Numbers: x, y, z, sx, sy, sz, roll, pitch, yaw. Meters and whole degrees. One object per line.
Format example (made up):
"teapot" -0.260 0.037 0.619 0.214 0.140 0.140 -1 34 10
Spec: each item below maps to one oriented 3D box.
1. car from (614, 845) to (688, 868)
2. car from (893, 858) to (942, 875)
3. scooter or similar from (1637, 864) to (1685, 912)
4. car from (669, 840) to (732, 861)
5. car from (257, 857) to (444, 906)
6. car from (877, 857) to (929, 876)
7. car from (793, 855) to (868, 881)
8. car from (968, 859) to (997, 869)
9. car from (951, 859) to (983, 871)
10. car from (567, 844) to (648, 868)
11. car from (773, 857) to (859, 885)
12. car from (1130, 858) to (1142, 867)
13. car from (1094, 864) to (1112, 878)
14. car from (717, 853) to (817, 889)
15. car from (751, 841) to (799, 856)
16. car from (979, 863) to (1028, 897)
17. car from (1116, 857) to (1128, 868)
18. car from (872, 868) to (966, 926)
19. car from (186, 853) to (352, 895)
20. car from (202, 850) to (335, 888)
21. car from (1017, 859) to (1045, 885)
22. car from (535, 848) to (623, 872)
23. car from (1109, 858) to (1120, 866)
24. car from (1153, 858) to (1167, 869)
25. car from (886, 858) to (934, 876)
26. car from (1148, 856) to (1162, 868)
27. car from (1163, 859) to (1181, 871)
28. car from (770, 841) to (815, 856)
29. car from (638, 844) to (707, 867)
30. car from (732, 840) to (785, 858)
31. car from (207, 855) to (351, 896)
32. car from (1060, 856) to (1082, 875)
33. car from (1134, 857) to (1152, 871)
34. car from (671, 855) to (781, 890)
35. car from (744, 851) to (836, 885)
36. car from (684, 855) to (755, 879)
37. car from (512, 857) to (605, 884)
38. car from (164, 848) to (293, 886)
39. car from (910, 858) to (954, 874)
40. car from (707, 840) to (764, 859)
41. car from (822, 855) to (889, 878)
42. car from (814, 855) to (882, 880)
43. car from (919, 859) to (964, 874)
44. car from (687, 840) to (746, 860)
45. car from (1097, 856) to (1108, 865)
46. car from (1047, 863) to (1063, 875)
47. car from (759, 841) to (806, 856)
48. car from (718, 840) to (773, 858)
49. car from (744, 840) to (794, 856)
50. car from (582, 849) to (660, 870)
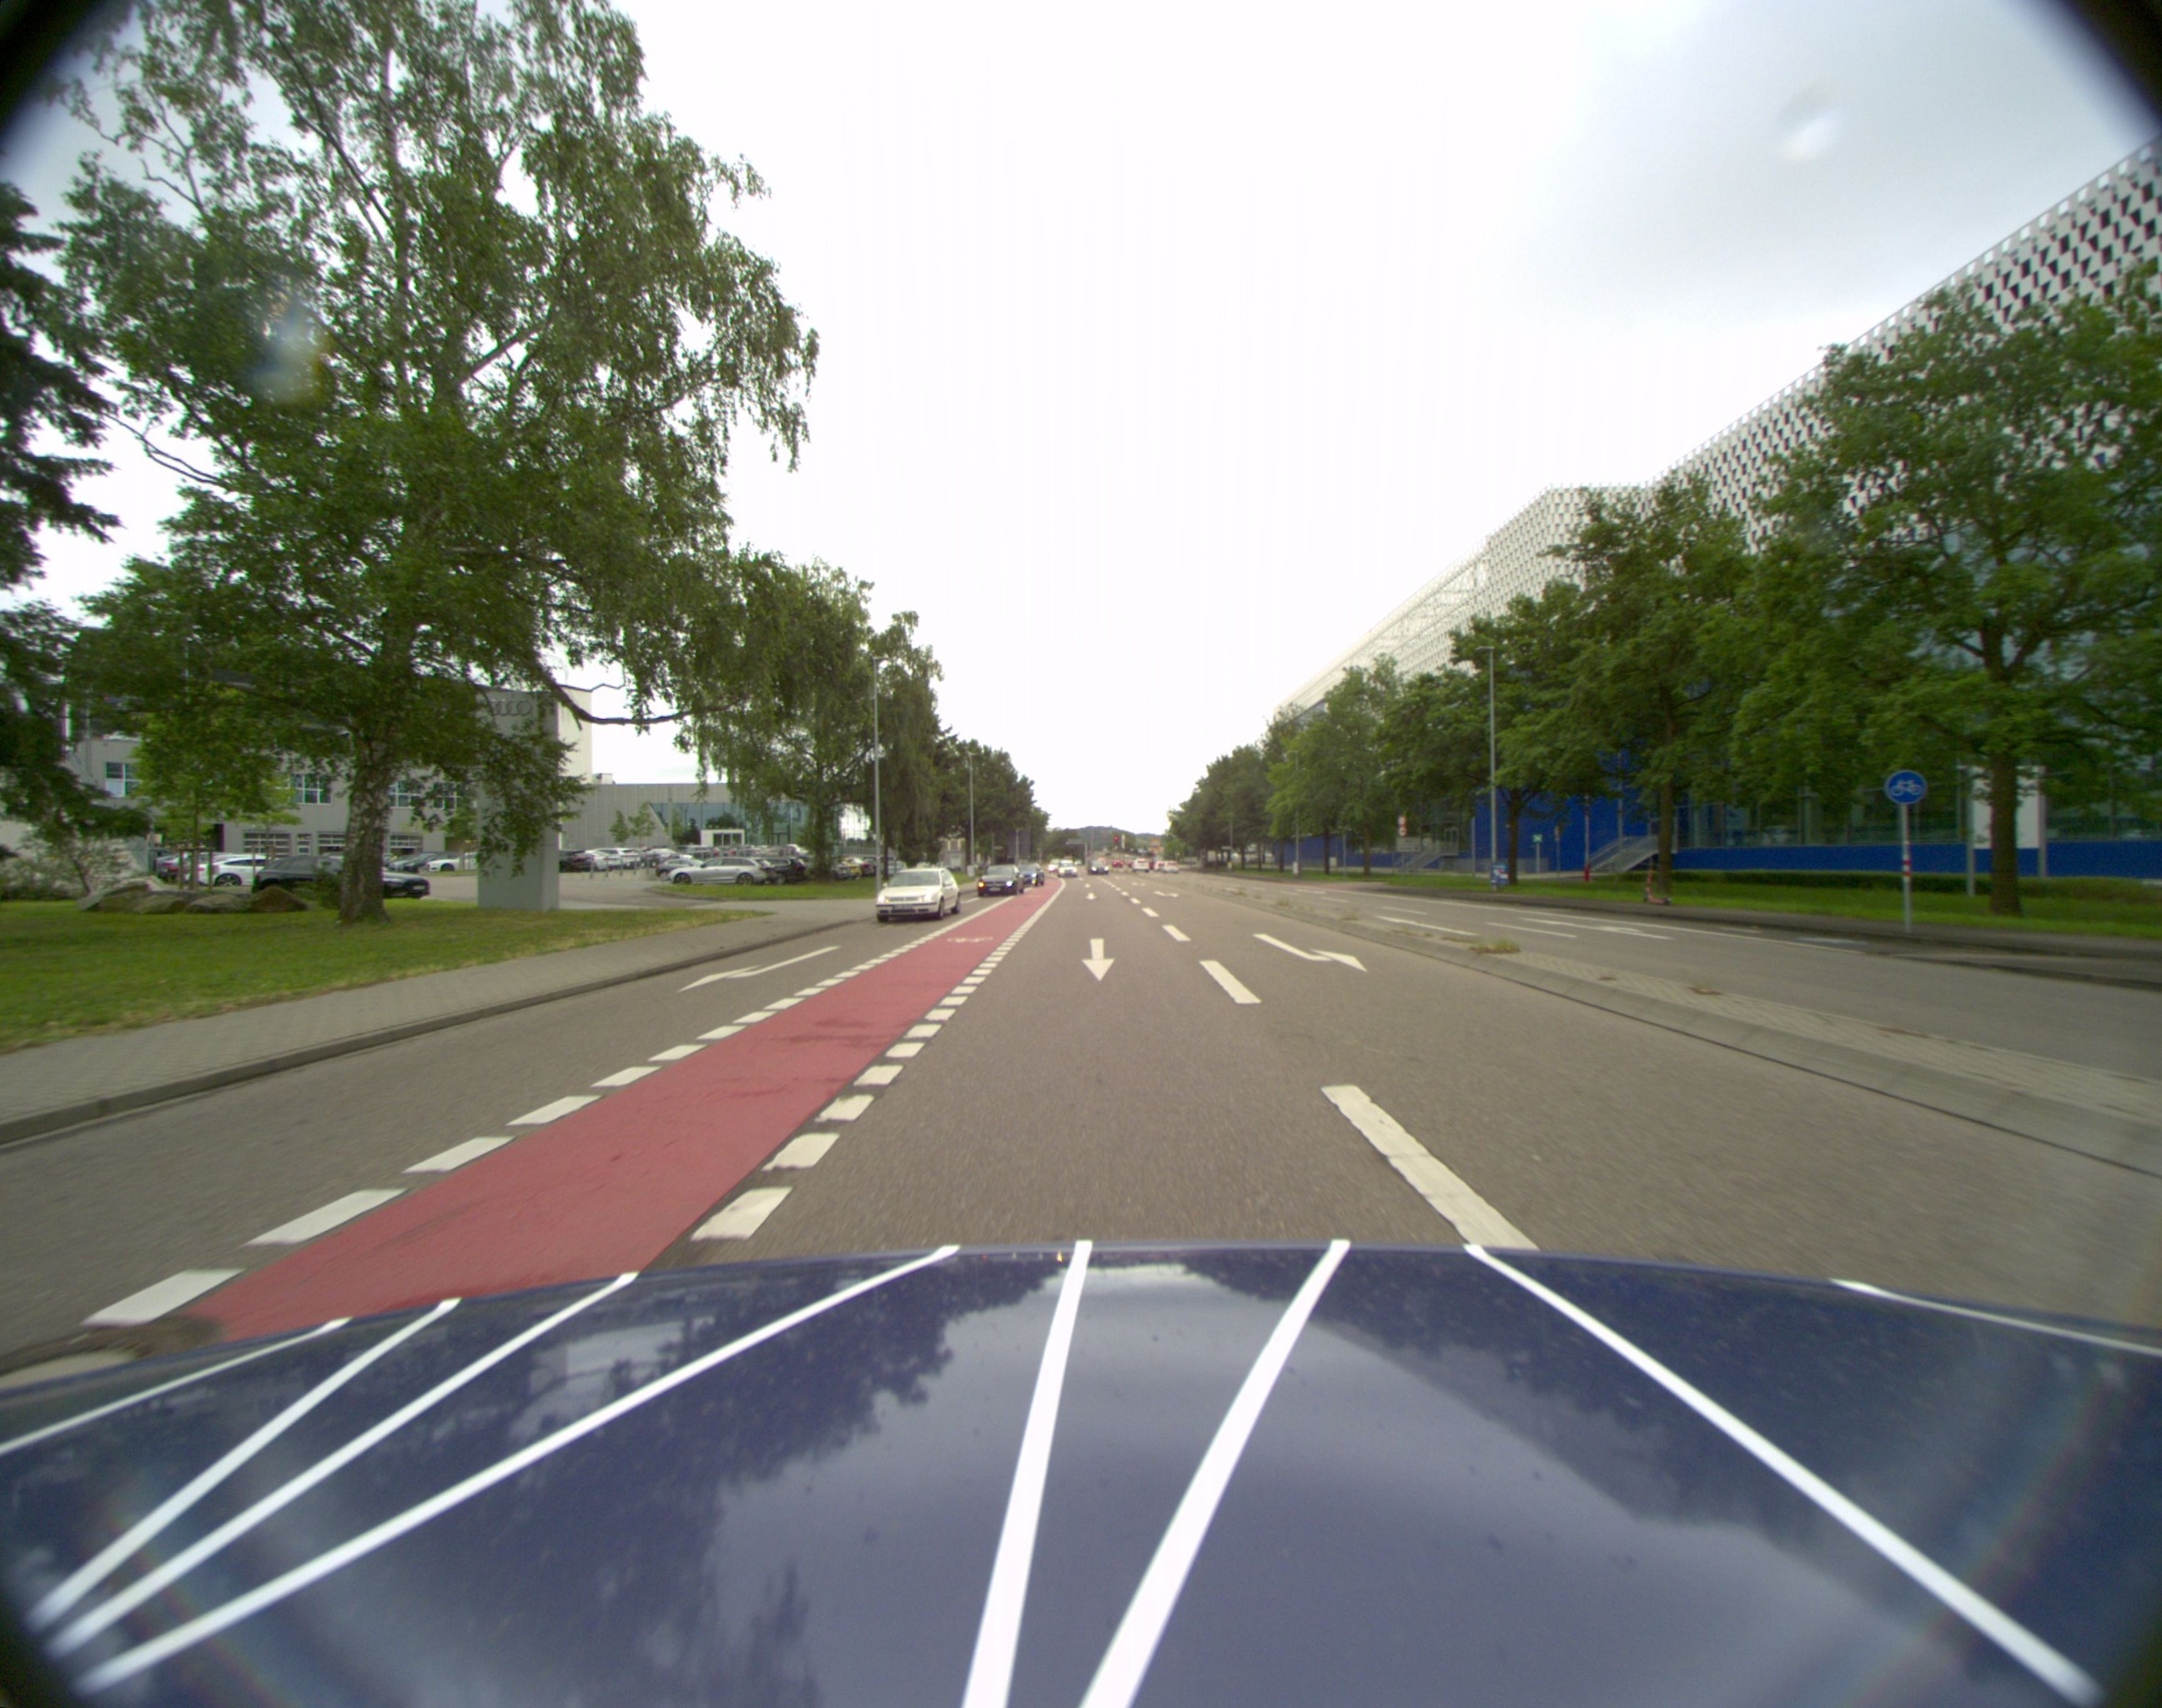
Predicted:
"car" -31.558 0.198 55.848 4.309 1.364 1.832 -3 0 -1
"car" -15.871 1.229 73.880 4.308 1.350 1.739 -3 0 0
"scooter or similar" 16.748 0.952 21.969 0.448 1.314 1.506 0 0 10
"car" -32.249 -0.275 64.489 4.309 1.518 1.859 -3 0 -1
"car" -24.889 0.921 26.035 4.310 1.579 1.968 0 0 -6
"car" -16.198 1.149 69.187 4.198 1.423 1.739 -3 0 0
"car" -15.530 0.862 47.217 4.004 1.371 1.811 -3 0 2
"car" -15.092 1.510 116.596 4.041 1.384 1.727 -3 0 0
"car" -15.504 1.455 103.765 4.041 1.384 1.727 -3 0 0
"car" -32.179 0.142 51.686 4.309 1.374 1.700 -3 0 -1
"car" -15.590 0.976 44.898 4.308 1.374 1.902 -3 0 2
"car" 11.399 1.833 157.592 1.651 1.787 3.979 2 -1 -6
"car" 2.322 1.788 80.418 1.837 1.415 4.000 -2 0 0
"car" -16.285 0.860 39.578 4.309 1.591 1.969 -3 0 -2
"car" -32.337 -0.561 80.378 4.309 1.355 1.832 -3 0 -1
"car" -3.624 1.188 36.143 1.837 1.415 4.000 -2 0 0
"car" 8.077 1.712 150.475 1.651 1.788 3.978 -8 1 -6
"car" -4.511 1.152 21.693 1.726 1.415 3.941 -2 0 1
"car" -35.718 0.865 33.575 1.900 1.557 4.684 -3 0 33
"car" -41.328 0.729 38.739 1.964 1.651 4.319 -3 0 35
"car" -3.397 1.168 50.847 1.788 1.637 3.998 0 0 -5
"car" -32.222 0.395 48.871 4.309 1.282 1.832 -3 0 -1
"car" 7.016 1.684 159.220 1.651 1.787 3.979 2 -1 -6
"car" 10.841 1.305 104.329 1.628 1.414 3.611 1 0 0
"car" -16.091 1.225 71.608 4.056 1.369 1.795 -3 0 1
"car" 12.218 1.259 125.968 1.771 1.913 4.909 1 0 -1
"car" 11.118 1.331 92.937 1.681 1.420 3.650 1 0 -3
"car" -32.471 -0.626 85.664 4.309 1.355 1.832 -3 0 -1
"car" -32.012 0.142 59.572 4.309 1.526 1.832 -3 0 -1
"car" -31.807 -0.488 74.996 4.308 1.582 1.896 -3 0 2
"car" -37.340 0.958 35.504 1.964 1.643 4.319 -3 0 35
"car" -1.000 1.126 74.979 1.995 1.838 4.103 0 0 -2
"car" 7.758 1.259 95.544 1.822 1.577 4.513 1 -1 0
"car" -16.548 0.864 35.572 4.310 1.480 1.739 -1 0 -5
"car" -16.135 0.754 42.284 4.308 1.591 1.969 -3 0 2
"car" -26.283 0.990 55.337 4.308 1.616 1.903 -1 -2 -1
"car" -32.030 1.001 46.672 4.309 1.365 1.832 -3 0 -1
"car" -45.618 0.680 40.744 1.964 1.794 4.319 -3 0 35
"car" -16.009 1.327 81.682 4.308 1.436 1.844 -3 0 0
"car" -31.752 -0.409 69.878 4.309 1.503 1.832 -3 0 -1
"car" -15.645 0.867 52.822 4.002 1.345 1.902 -3 0 2
"car" -15.317 0.891 50.106 3.761 1.415 1.953 -3 0 -1
"car" -15.907 1.421 86.754 4.763 1.416 1.902 -3 0 0
"car" -32.274 -0.371 67.340 4.309 1.516 1.832 -3 0 -1
"car" 4.235 1.317 149.915 1.651 1.787 3.979 1 -1 -6
"car" -3.347 1.947 98.747 1.837 1.415 4.000 -2 0 0
"car" -32.557 -0.584 82.886 4.309 1.355 1.832 -3 0 -1
"car" -31.888 -0.443 72.322 4.309 1.424 1.864 -3 0 -1
"car" -31.839 -0.559 77.637 4.309 1.355 1.832 -3 0 -1
"car" -32.410 0.380 53.569 4.309 1.240 1.832 -3 0 -1
